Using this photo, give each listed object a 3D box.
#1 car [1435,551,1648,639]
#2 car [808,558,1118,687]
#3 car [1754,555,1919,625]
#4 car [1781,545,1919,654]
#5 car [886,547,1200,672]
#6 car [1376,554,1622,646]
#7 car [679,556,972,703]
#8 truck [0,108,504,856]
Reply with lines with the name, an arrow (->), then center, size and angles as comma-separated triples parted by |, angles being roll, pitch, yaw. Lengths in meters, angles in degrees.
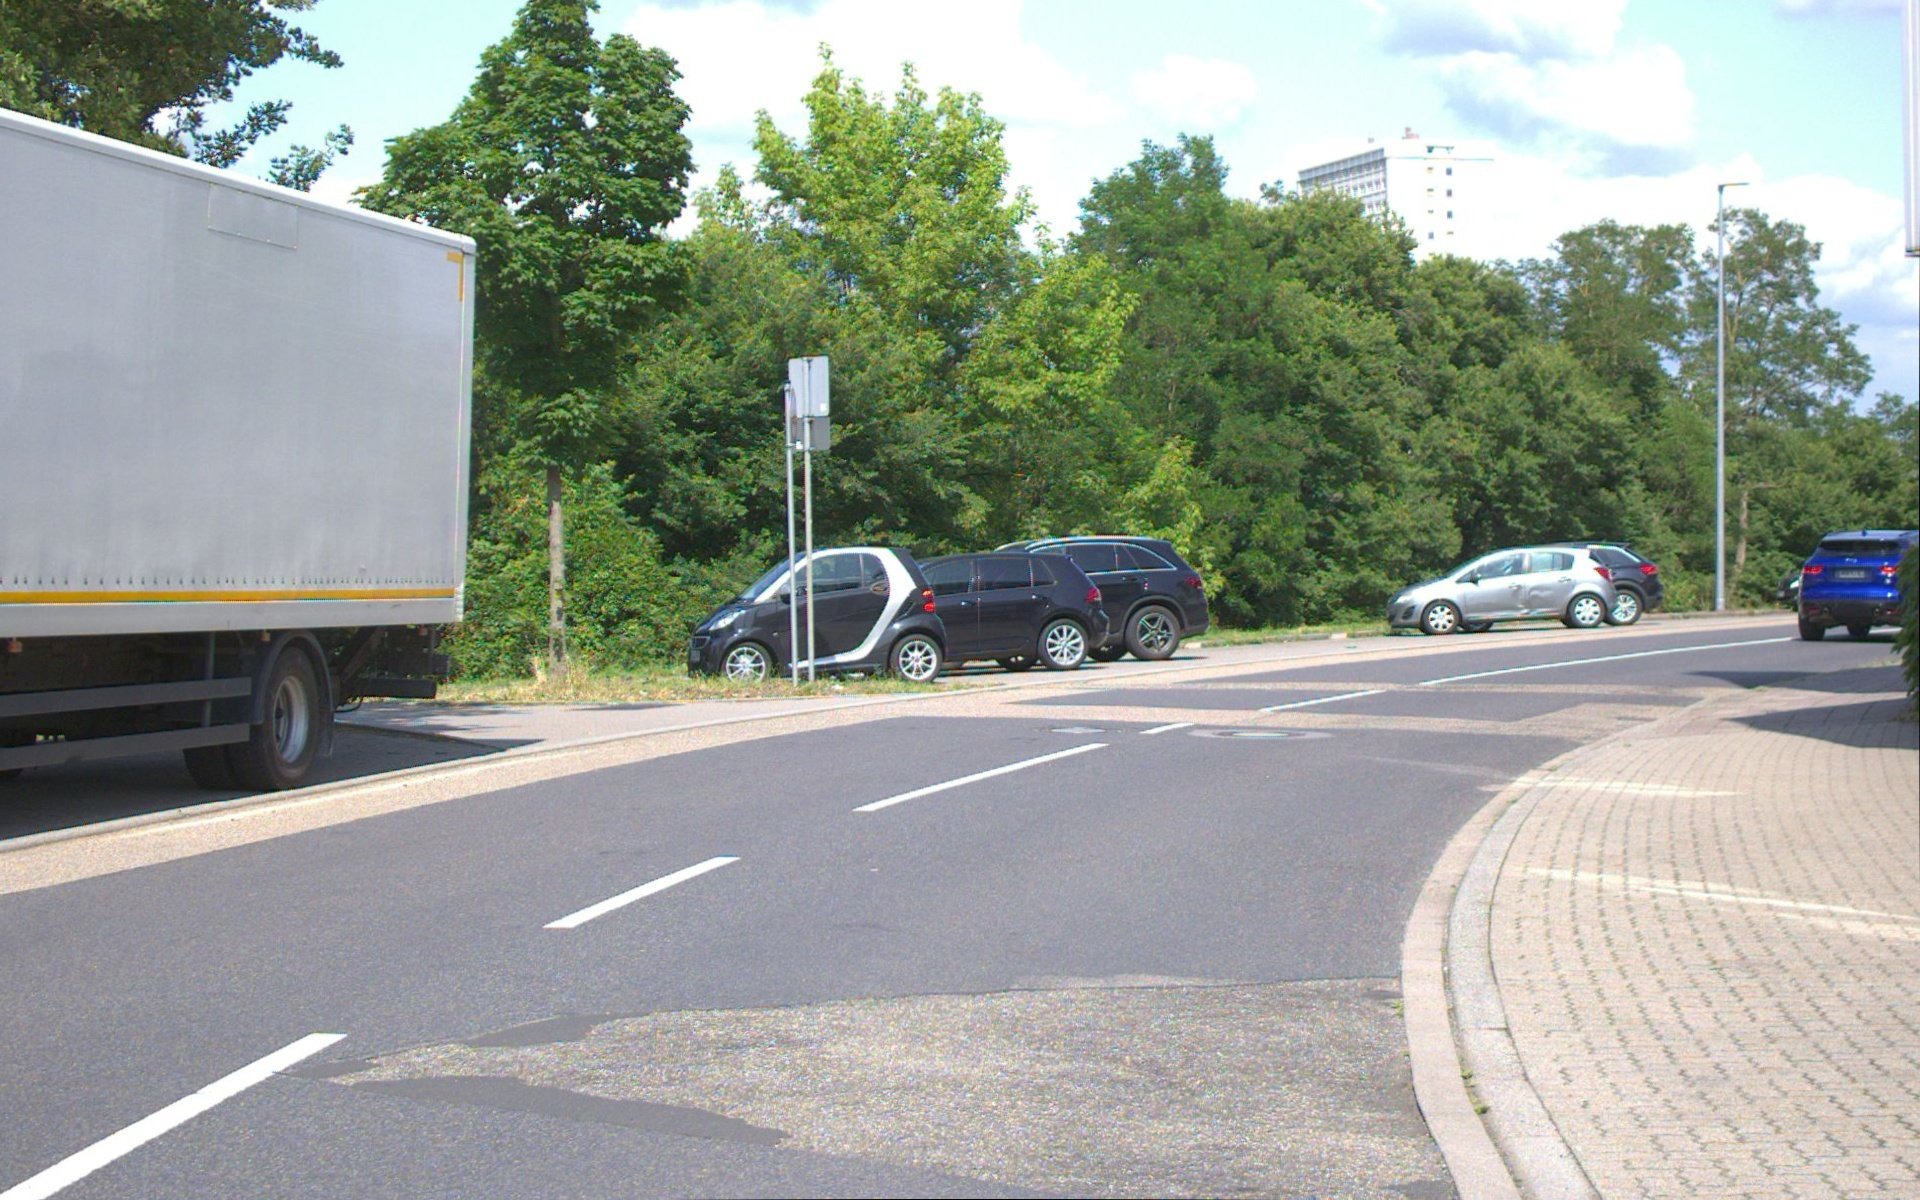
car -> 10.518, -0.085, 62.316 | 3.578, 1.564, 1.742 | 0, 0, 1
car -> 0.027, 0.252, 41.335 | 3.322, 1.470, 1.705 | -1, 1, -22
car -> 20.918, -0.223, 79.158 | 4.881, 1.564, 1.742 | 0, 0, 1
car -> 13.873, -0.005, 52.575 | 1.911, 1.588, 4.696 | 0, 0, 22
car -> 1.063, 0.118, 44.672 | 3.627, 1.564, 1.890 | 0, 0, -21
car -> 9.395, 0.006, 60.144 | 4.046, 1.564, 1.742 | 0, 0, 1
car -> -1.506, 0.312, 37.900 | 2.897, 1.564, 1.890 | 0, 0, -14
truck -> -5.225, -0.611, 18.671 | 2.322, 3.555, 9.362 | 1, 1, 13
